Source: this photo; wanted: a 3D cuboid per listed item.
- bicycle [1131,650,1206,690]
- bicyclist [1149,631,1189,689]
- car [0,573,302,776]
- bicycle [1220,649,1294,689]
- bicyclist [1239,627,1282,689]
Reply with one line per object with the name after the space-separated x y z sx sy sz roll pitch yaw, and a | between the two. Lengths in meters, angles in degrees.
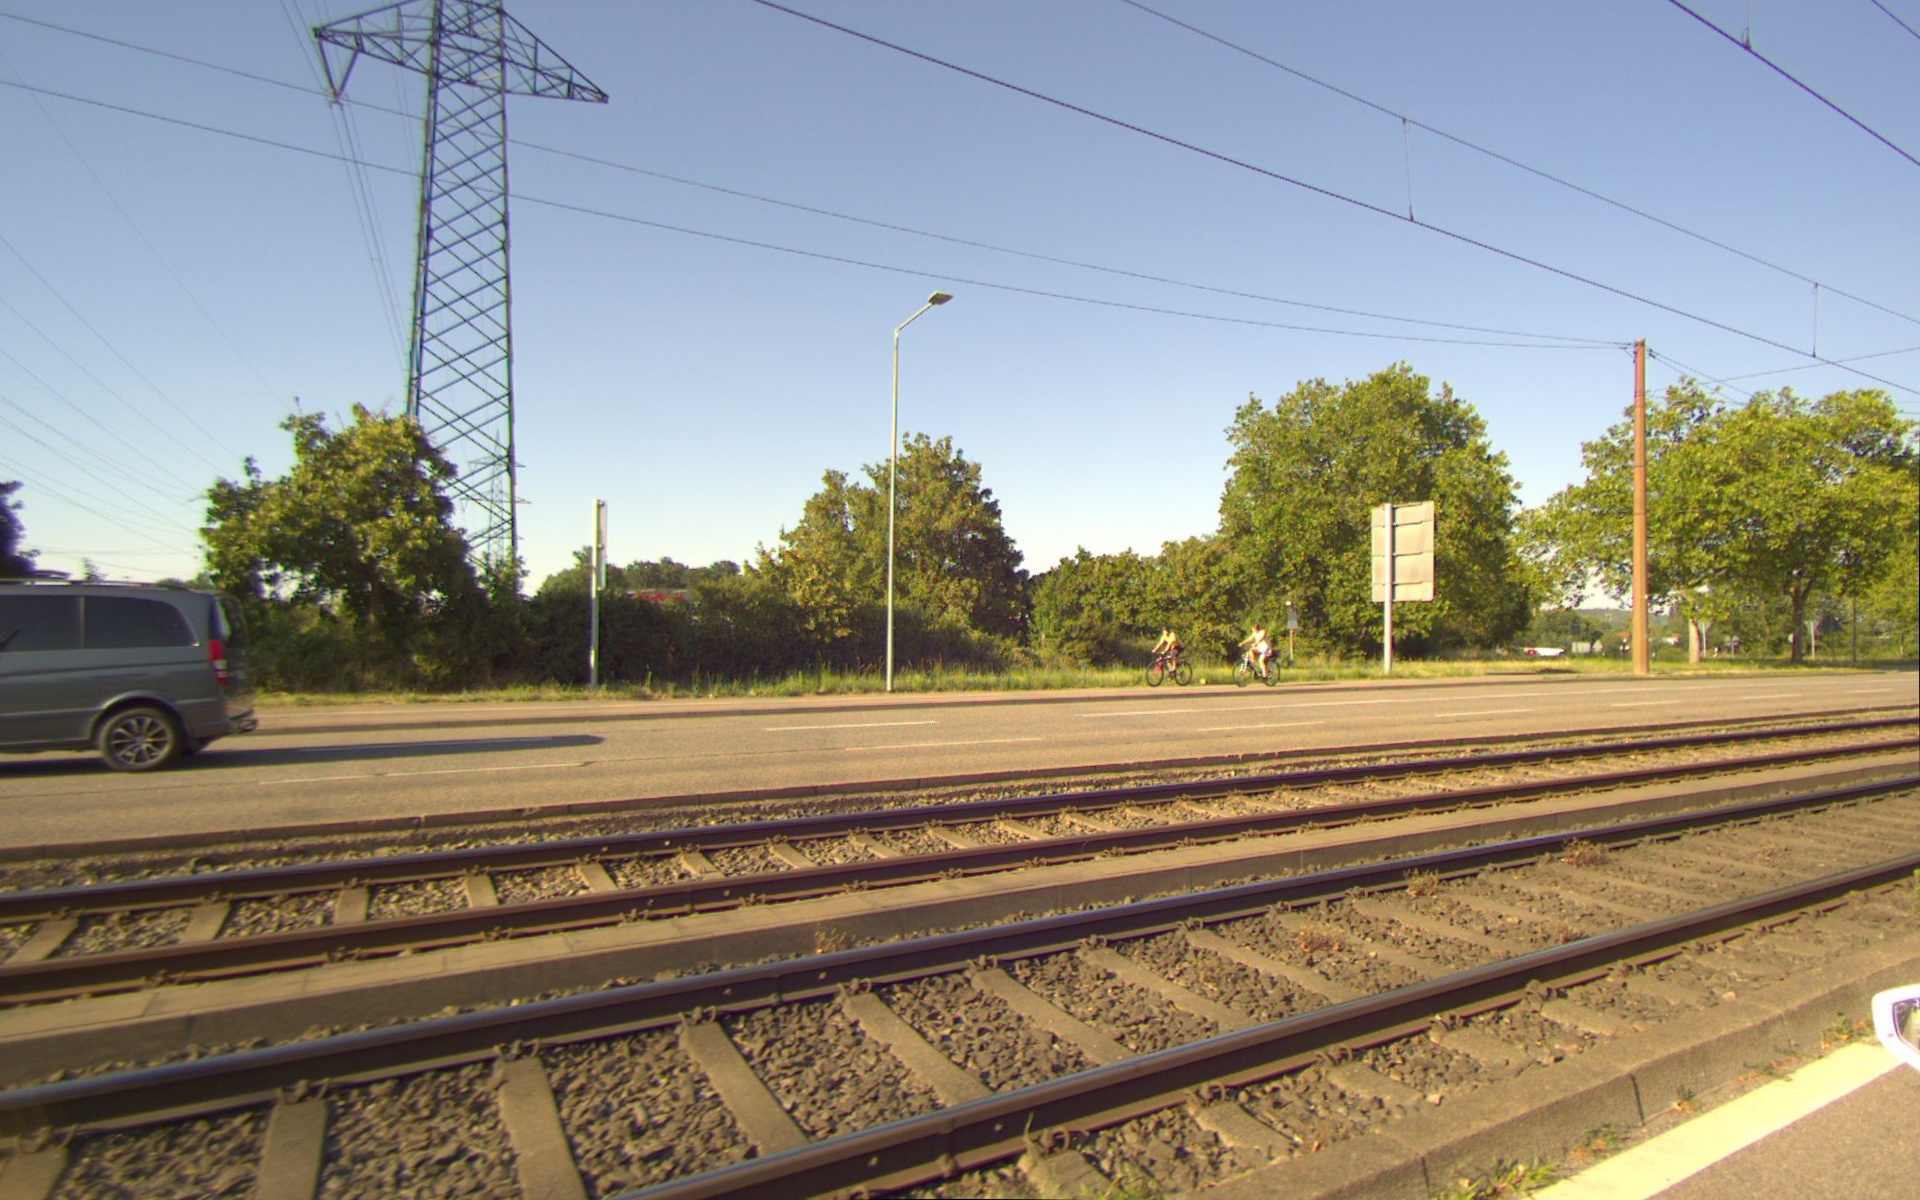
5.644 1.875 27.191 2.160 1.035 0.587 2 -2 -31 | bicycle
5.656 1.618 27.210 0.895 1.548 0.587 2 -2 -30 | bicyclist
-9.844 0.736 10.440 4.800 1.948 1.986 2 -2 -28 | car
7.956 1.831 26.898 2.160 1.035 0.587 2 -2 -31 | bicycle
8.062 1.536 26.948 0.956 1.632 0.587 2 -2 -30 | bicyclist
